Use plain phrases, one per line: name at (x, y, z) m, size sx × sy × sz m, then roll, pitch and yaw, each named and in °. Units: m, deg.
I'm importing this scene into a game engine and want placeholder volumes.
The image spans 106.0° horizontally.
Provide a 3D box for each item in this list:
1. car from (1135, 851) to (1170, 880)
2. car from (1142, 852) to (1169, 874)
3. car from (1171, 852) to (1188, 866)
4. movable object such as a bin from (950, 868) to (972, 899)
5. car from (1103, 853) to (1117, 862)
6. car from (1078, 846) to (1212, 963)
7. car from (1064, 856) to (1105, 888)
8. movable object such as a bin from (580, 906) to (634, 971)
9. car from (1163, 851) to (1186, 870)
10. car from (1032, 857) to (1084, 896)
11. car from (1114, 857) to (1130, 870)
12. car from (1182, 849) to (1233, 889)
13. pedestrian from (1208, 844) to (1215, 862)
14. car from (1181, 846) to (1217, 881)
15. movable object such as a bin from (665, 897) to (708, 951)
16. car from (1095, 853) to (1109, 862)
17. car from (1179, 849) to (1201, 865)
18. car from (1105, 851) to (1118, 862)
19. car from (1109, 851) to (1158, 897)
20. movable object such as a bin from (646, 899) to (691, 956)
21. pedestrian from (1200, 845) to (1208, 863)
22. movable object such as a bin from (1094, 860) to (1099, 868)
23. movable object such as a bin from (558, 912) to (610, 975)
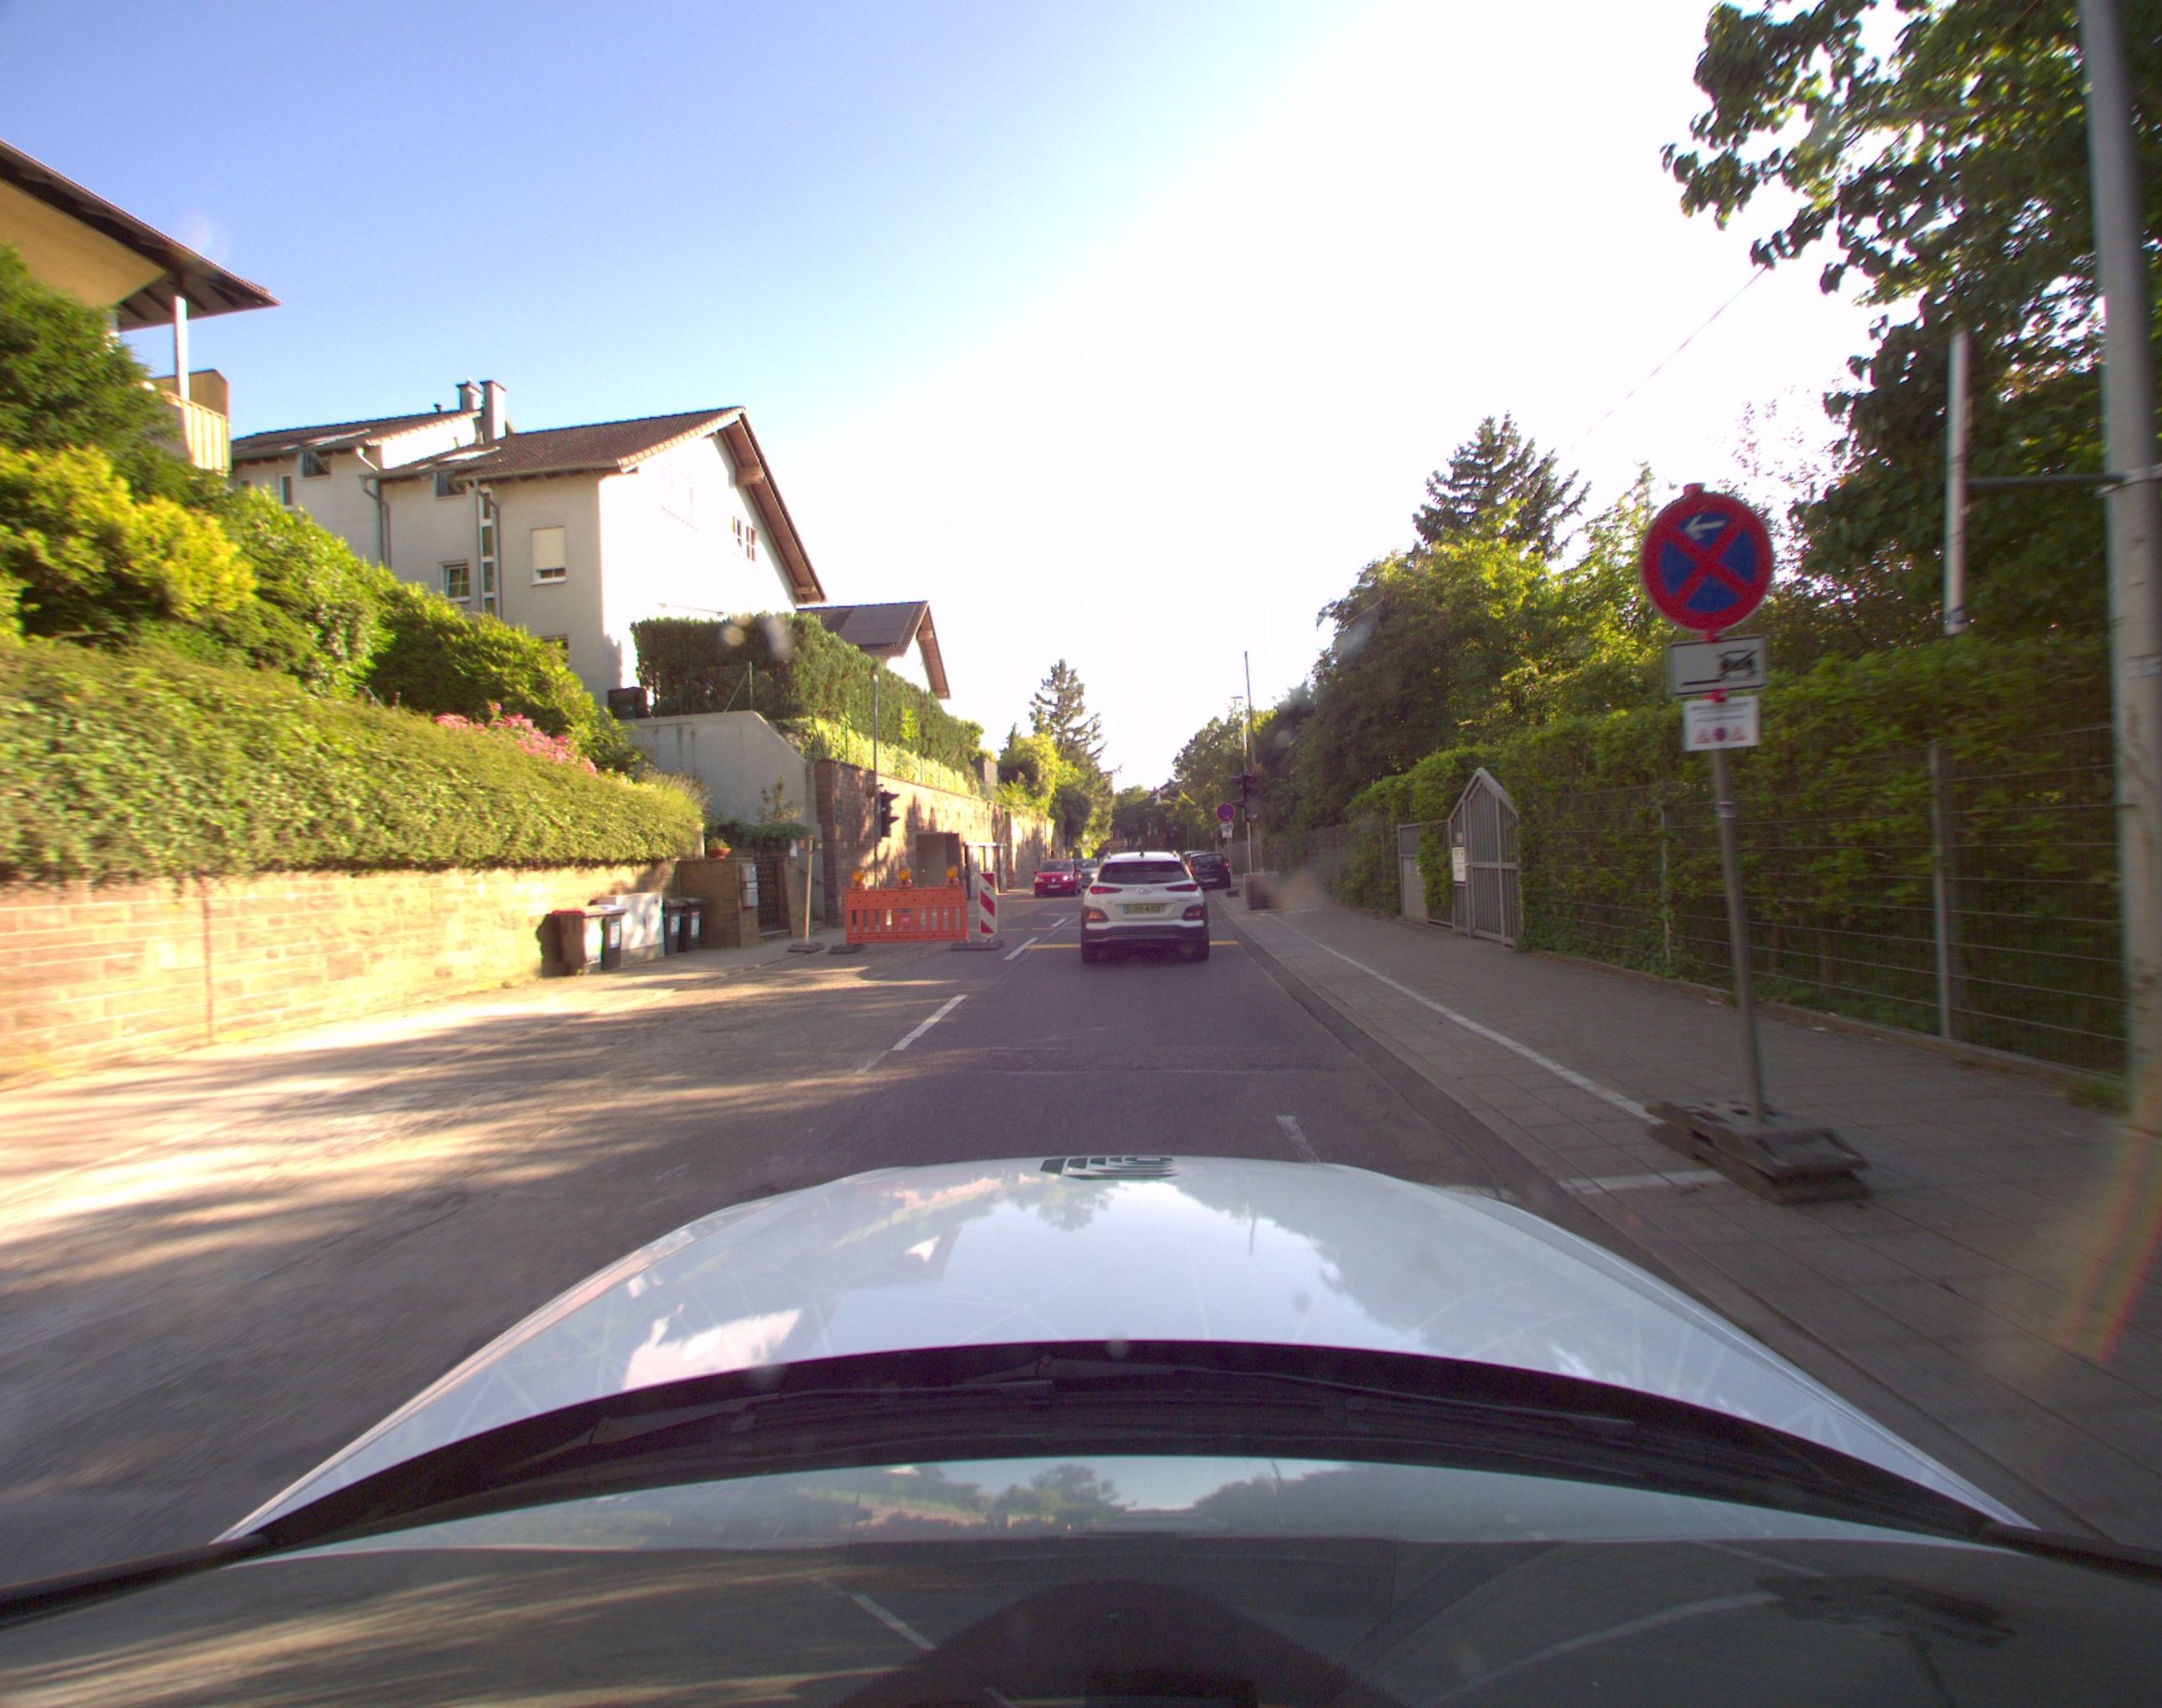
car at (3.876, 0.594, 43.772) m, size 1.561 × 1.477 × 3.557 m, roll -1°, pitch 0°, yaw 9°
car at (5.406, 0.641, 58.468) m, size 1.684 × 1.533 × 3.891 m, roll 1°, pitch 0°, yaw 9°
car at (11.796, 0.545, 97.711) m, size 1.587 × 1.489 × 3.604 m, roll -5°, pitch 0°, yaw 2°
movable object such as a bin at (-4.639, 1.136, 31.485) m, size 0.654 × 1.175 × 0.667 m, roll -3°, pitch 0°, yaw 7°
car at (5.340, 0.560, 148.787) m, size 1.756 × 1.616 × 3.986 m, roll -1°, pitch 0°, yaw -11°
car at (0.992, 0.684, 12.953) m, size 1.764 × 1.542 × 4.004 m, roll -1°, pitch 0°, yaw 4°
car at (0.224, 0.865, 41.042) m, size 1.641 × 1.411 × 3.937 m, roll -3°, pitch 0°, yaw 6°
movable object such as a bin at (-6.937, 1.226, 11.926) m, size 0.454 × 0.884 × 0.501 m, roll -1°, pitch 0°, yaw 5°
car at (8.476, 0.542, 73.713) m, size 1.683 × 1.447 × 3.892 m, roll -5°, pitch 1°, yaw 10°
car at (-0.882, 0.864, 32.846) m, size 1.619 × 1.422 × 3.567 m, roll -3°, pitch 0°, yaw 5°
car at (4.895, 1.153, 97.694) m, size 1.542 × 1.466 × 3.575 m, roll -4°, pitch -1°, yaw 7°
car at (5.044, 0.553, 32.932) m, size 1.785 × 1.441 × 4.007 m, roll -3°, pitch 0°, yaw 6°
pedestrian at (11.865, -0.101, 74.186) m, size 0.500 × 1.569 × 0.504 m, roll -5°, pitch -1°, yaw 7°
car at (6.254, 0.492, 43.091) m, size 1.643 × 1.564 × 2.879 m, roll -7°, pitch -1°, yaw 9°
movable object such as a bin at (-6.773, 1.194, 14.005) m, size 0.454 × 0.884 × 0.501 m, roll -1°, pitch 0°, yaw 5°
car at (3.908, 0.648, 154.015) m, size 1.756 × 1.616 × 3.986 m, roll -1°, pitch 0°, yaw -11°
car at (11.589, 0.343, 86.904) m, size 1.589 × 1.565 × 3.997 m, roll -4°, pitch -1°, yaw -2°
car at (4.605, 0.358, 122.709) m, size 1.736 × 1.474 × 3.999 m, roll -6°, pitch -1°, yaw 0°
car at (1.984, 0.683, 30.202) m, size 1.503 × 1.533 × 3.555 m, roll -3°, pitch 0°, yaw 7°
movable object such as a bin at (-6.825, 1.207, 13.481) m, size 0.454 × 0.884 × 0.501 m, roll -1°, pitch 0°, yaw 5°
pedestrian at (11.256, -0.038, 74.548) m, size 0.500 × 1.606 × 0.492 m, roll -5°, pitch -1°, yaw 7°
movable object such as a bin at (1.896, 1.217, 100.337) m, size 0.492 × 1.011 × 1.114 m, roll -1°, pitch -1°, yaw 6°
movable object such as a bin at (-6.984, 1.250, 11.457) m, size 0.452 × 0.834 × 0.393 m, roll -2°, pitch 0°, yaw 4°
